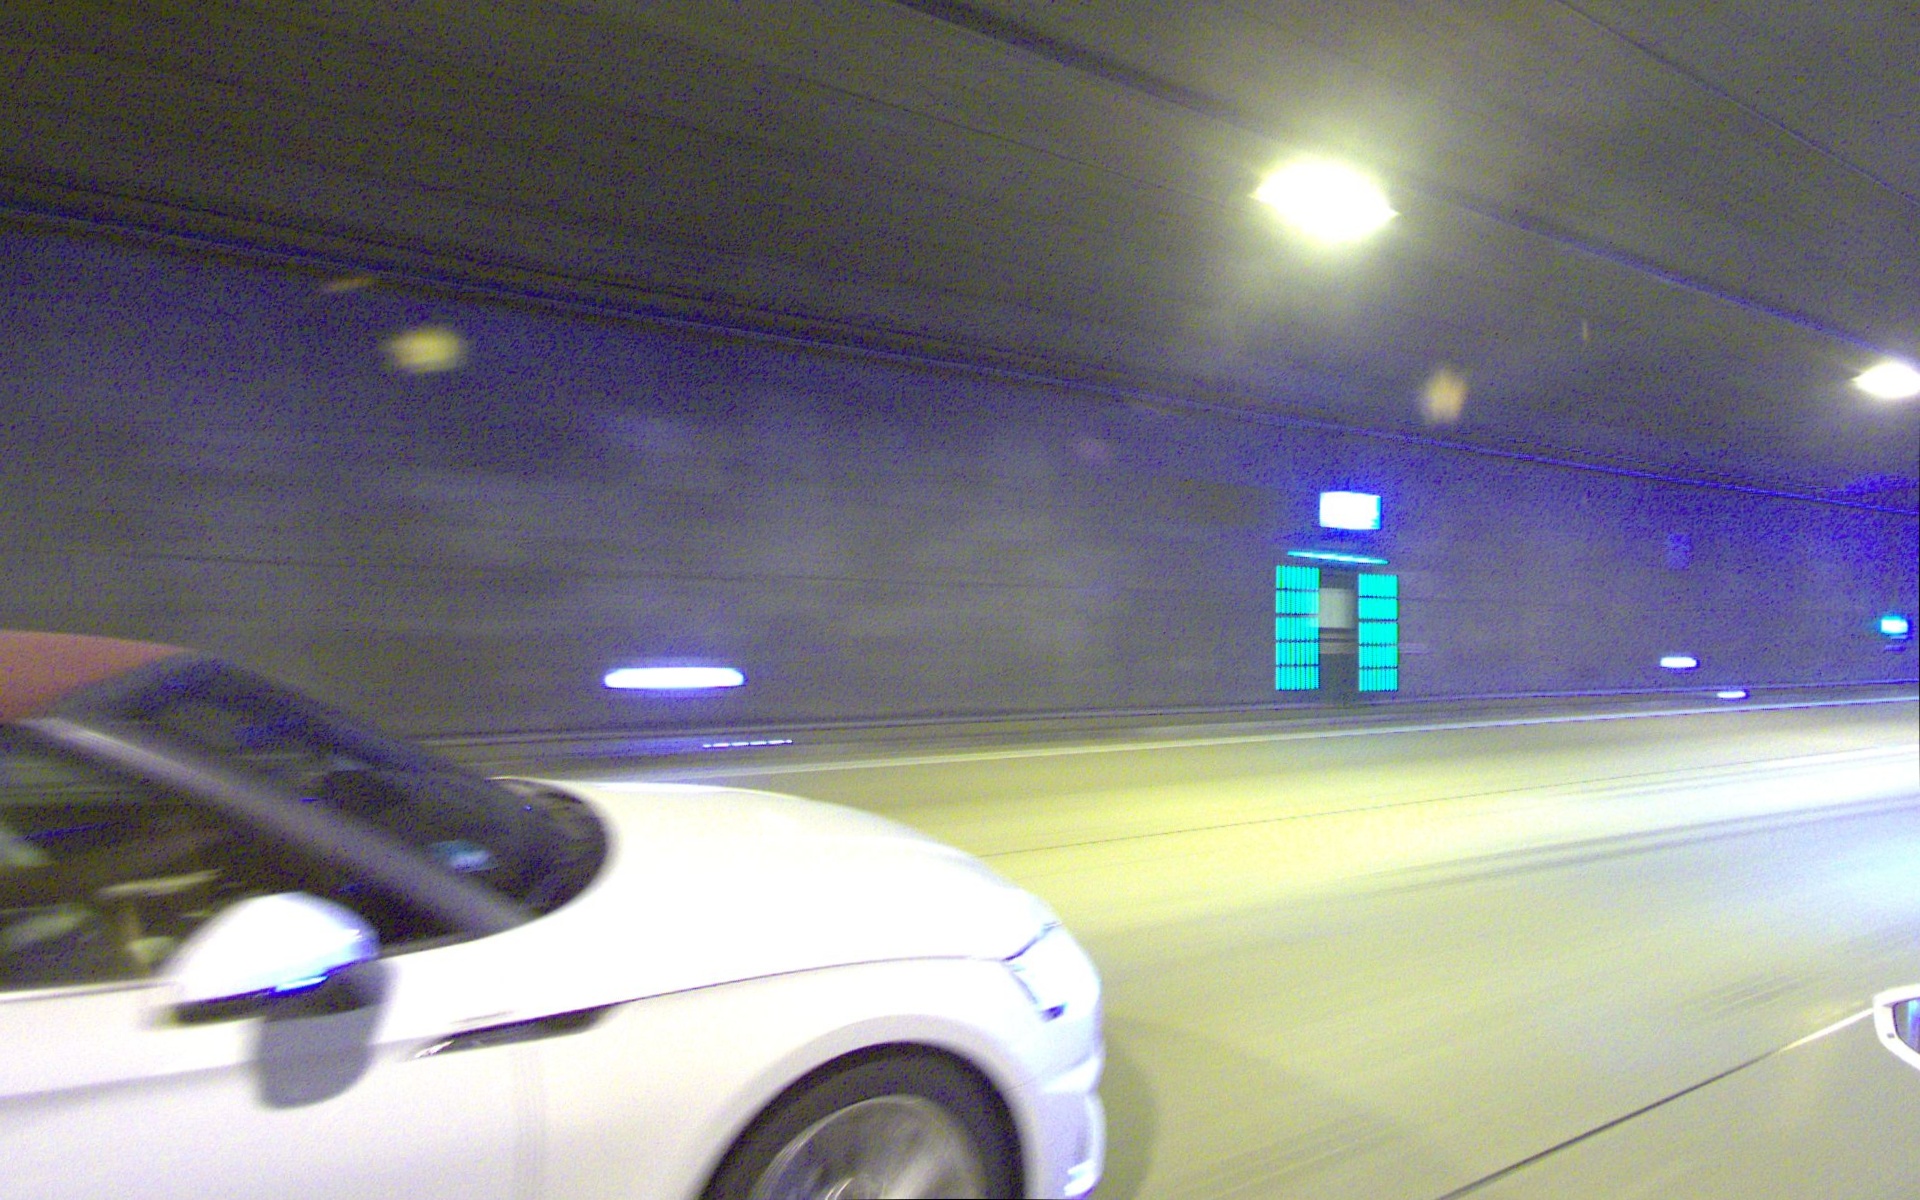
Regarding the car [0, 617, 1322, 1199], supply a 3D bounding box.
[{"bbox_3d":[-1.712,0.768,1.834,5.002,1.437,1.693,2,-1,-31],"label":"car"}]
